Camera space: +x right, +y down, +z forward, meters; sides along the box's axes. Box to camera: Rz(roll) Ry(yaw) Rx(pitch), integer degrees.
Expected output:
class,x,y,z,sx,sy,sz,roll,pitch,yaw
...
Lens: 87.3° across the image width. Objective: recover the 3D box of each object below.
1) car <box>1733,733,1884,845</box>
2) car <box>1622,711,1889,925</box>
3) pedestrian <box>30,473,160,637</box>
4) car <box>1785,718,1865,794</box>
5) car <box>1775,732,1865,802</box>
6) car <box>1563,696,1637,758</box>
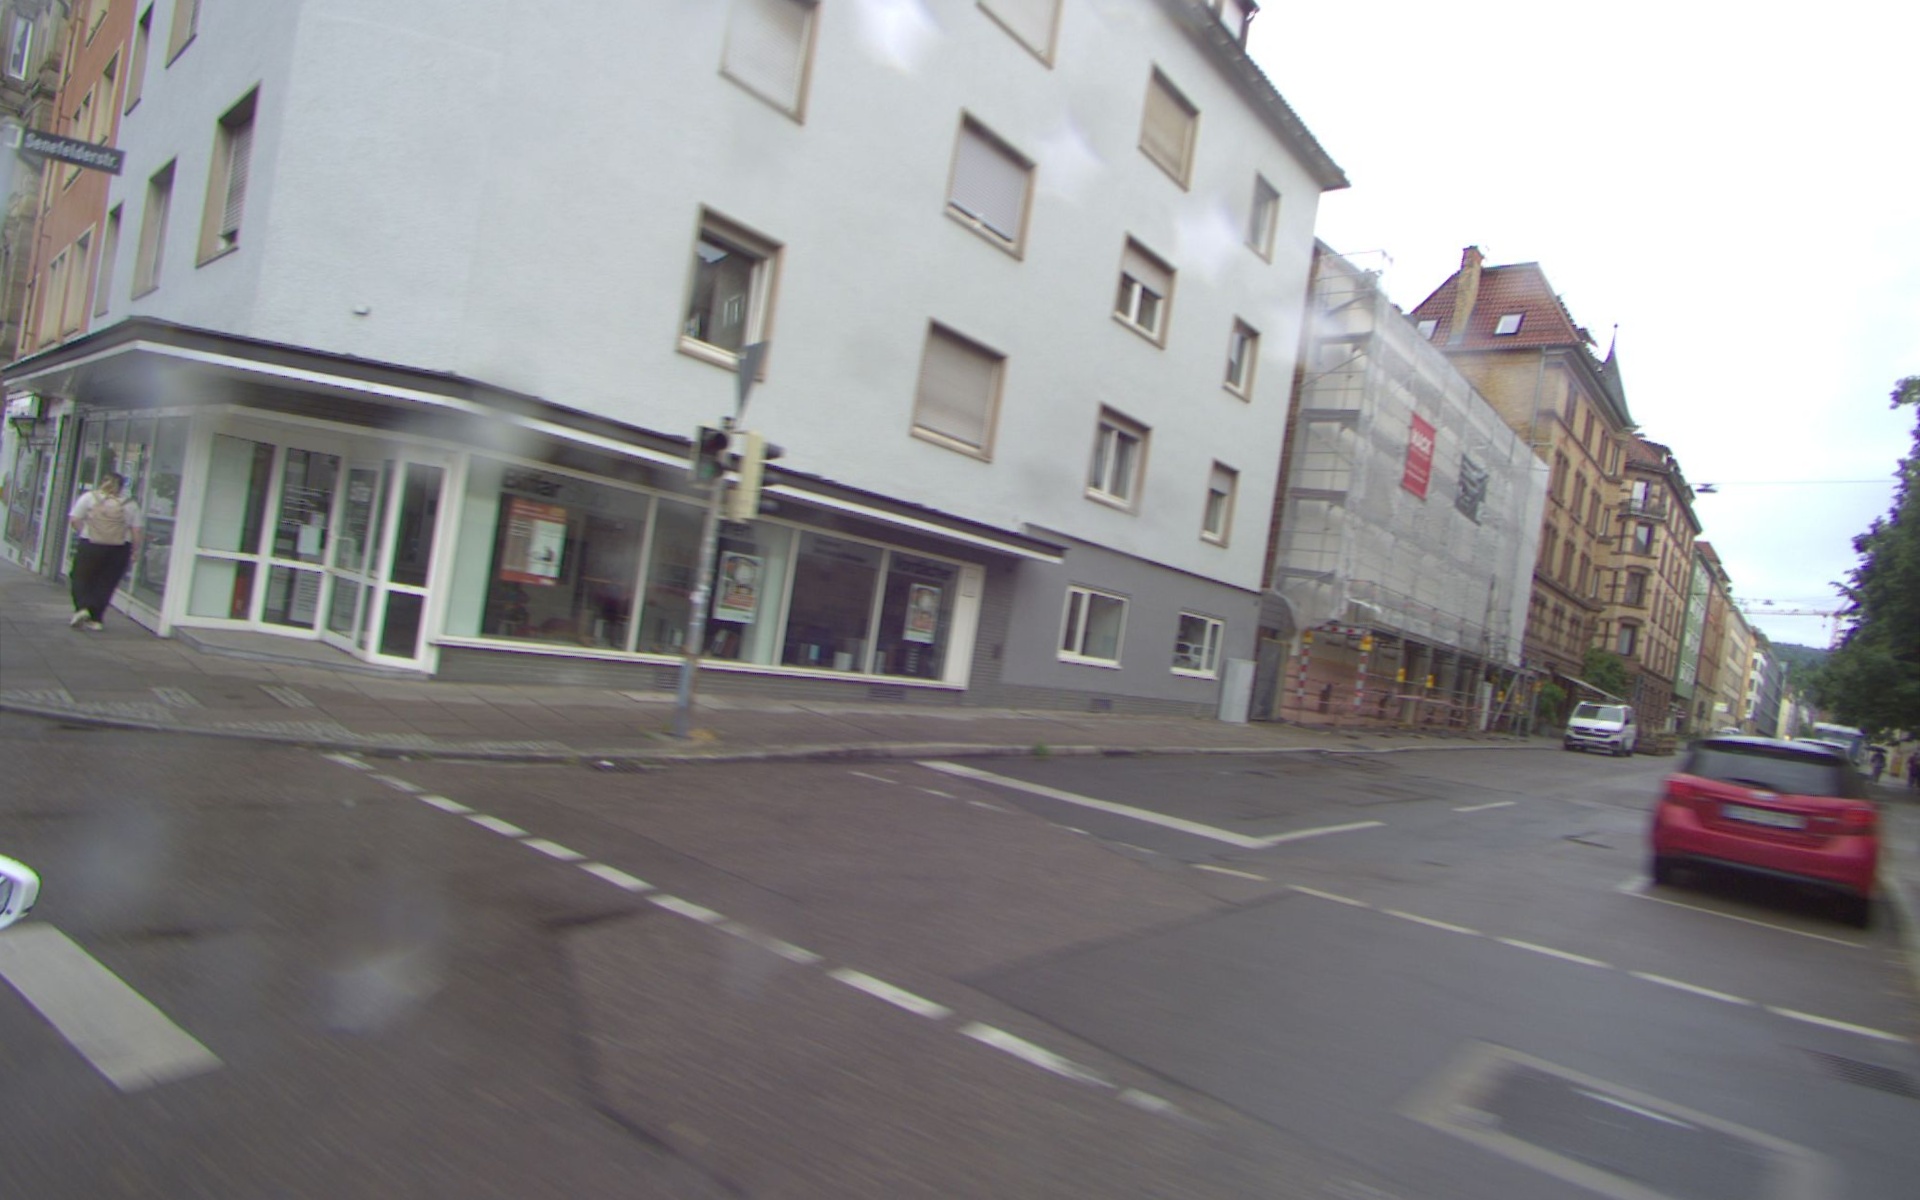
class,x,y,z,sx,sy,sz,roll,pitch,yaw
car,15.237,3.295,18.159,1.807,1.473,3.846,6,-2,40
car,8.156,2.019,10.203,1.742,1.537,3.843,4,-3,43
pedestrian,-8.986,-0.462,10.456,0.750,1.590,0.689,6,-1,30
car,29.142,5.179,33.989,1.808,2.191,3.846,4,-2,40
car,25.145,4.824,29.517,1.808,1.633,3.846,4,-2,40
car,25.180,4.955,39.531,1.808,2.095,4.313,4,-2,40
